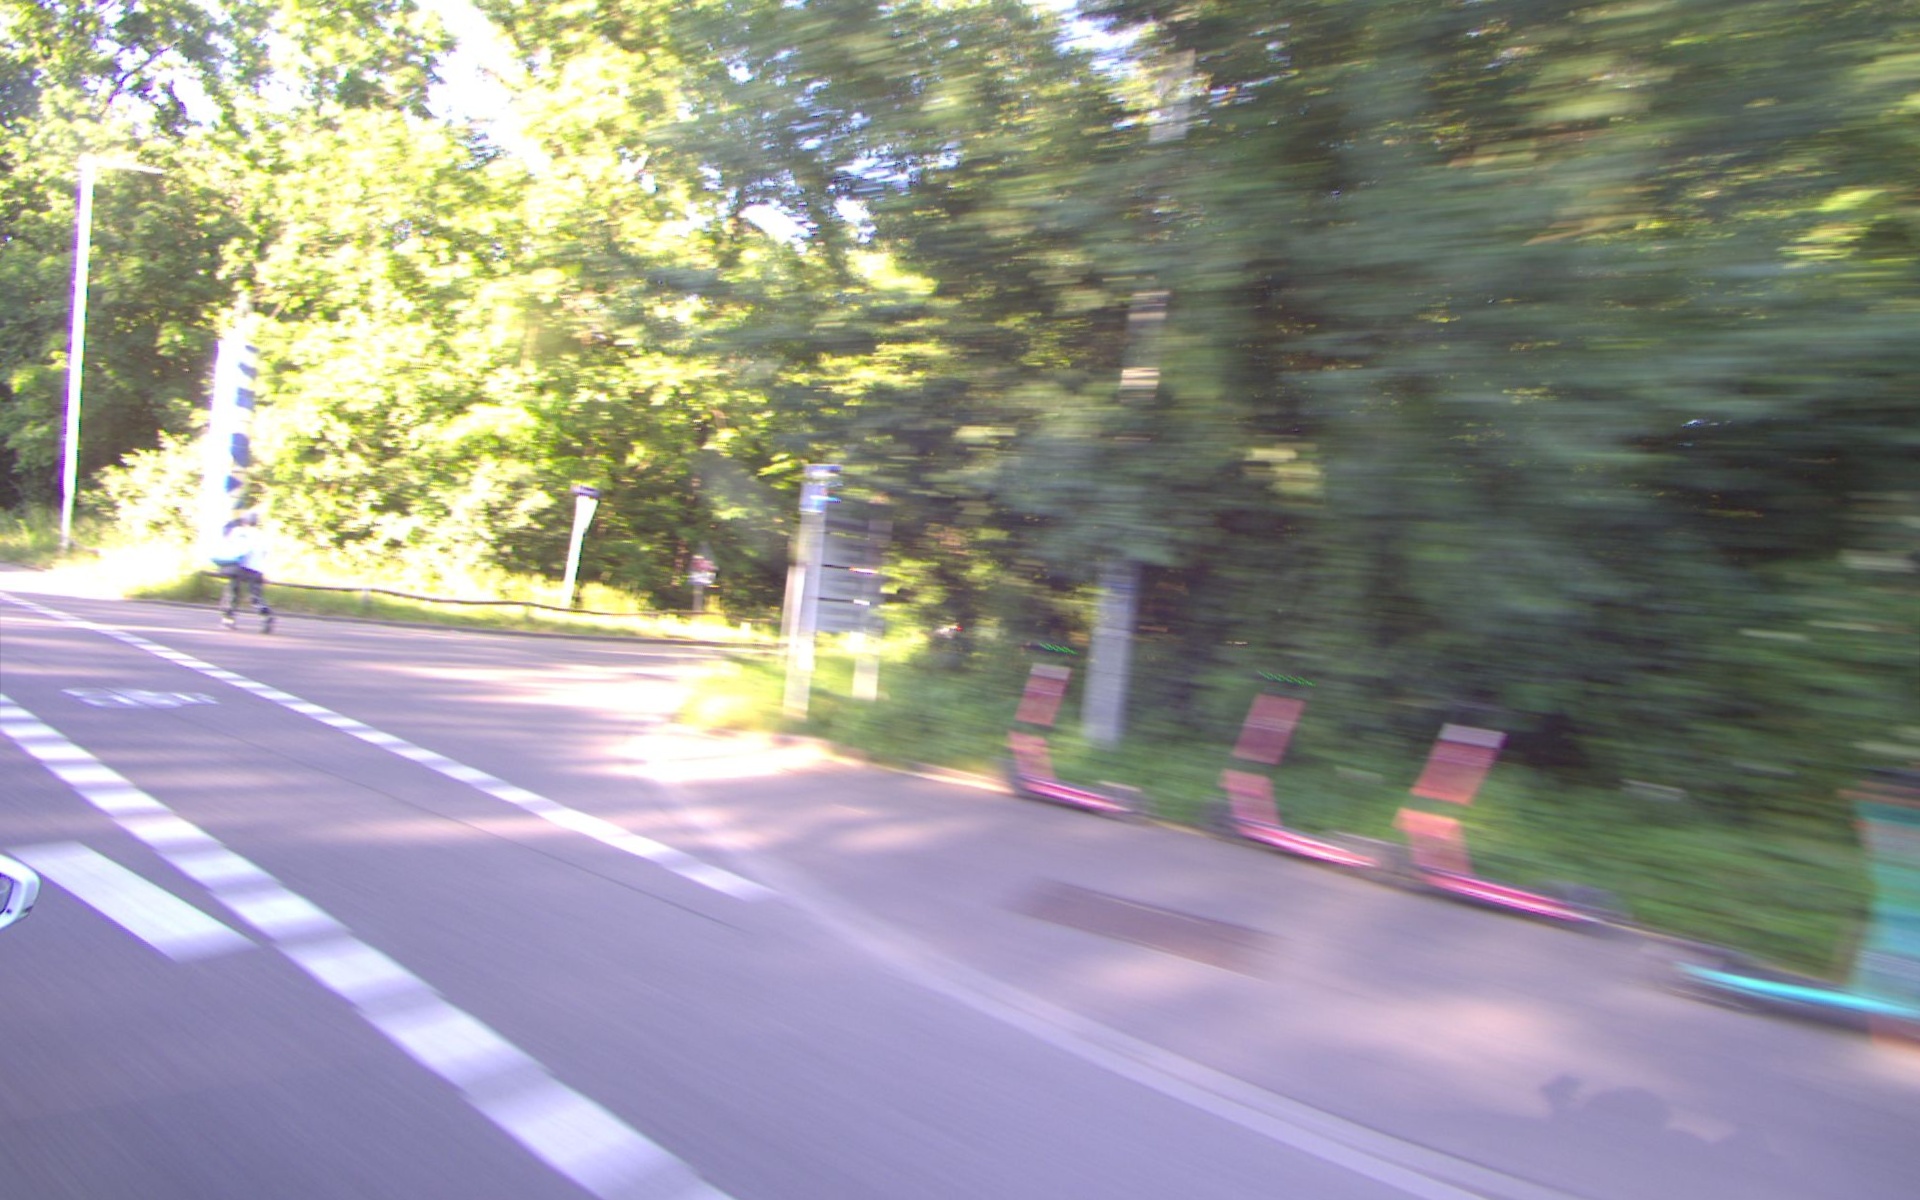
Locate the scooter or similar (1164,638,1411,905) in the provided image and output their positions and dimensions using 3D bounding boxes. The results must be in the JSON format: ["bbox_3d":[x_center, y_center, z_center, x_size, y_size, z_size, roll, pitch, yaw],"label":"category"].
[{"bbox_3d":[2.116,1.050,6.560,1.228,1.441,0.681,7,1,40],"label":"scooter or similar"}]

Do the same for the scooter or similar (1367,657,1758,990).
[{"bbox_3d":[3.319,1.152,5.683,1.654,1.441,0.682,7,1,32],"label":"scooter or similar"}]

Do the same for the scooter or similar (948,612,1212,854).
[{"bbox_3d":[0.864,0.912,7.403,1.654,1.441,0.682,7,1,32],"label":"scooter or similar"}]

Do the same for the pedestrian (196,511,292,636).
[{"bbox_3d":[-9.760,-0.361,13.716,0.790,1.583,0.755,7,1,36],"label":"pedestrian"}]

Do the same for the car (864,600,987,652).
[{"bbox_3d":[-1.220,0.902,35.076,3.930,1.351,1.524,7,1,27],"label":"car"}]

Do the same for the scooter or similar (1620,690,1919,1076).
[{"bbox_3d":[4.068,1.243,4.450,1.650,1.441,0.684,7,1,16],"label":"scooter or similar"}]
